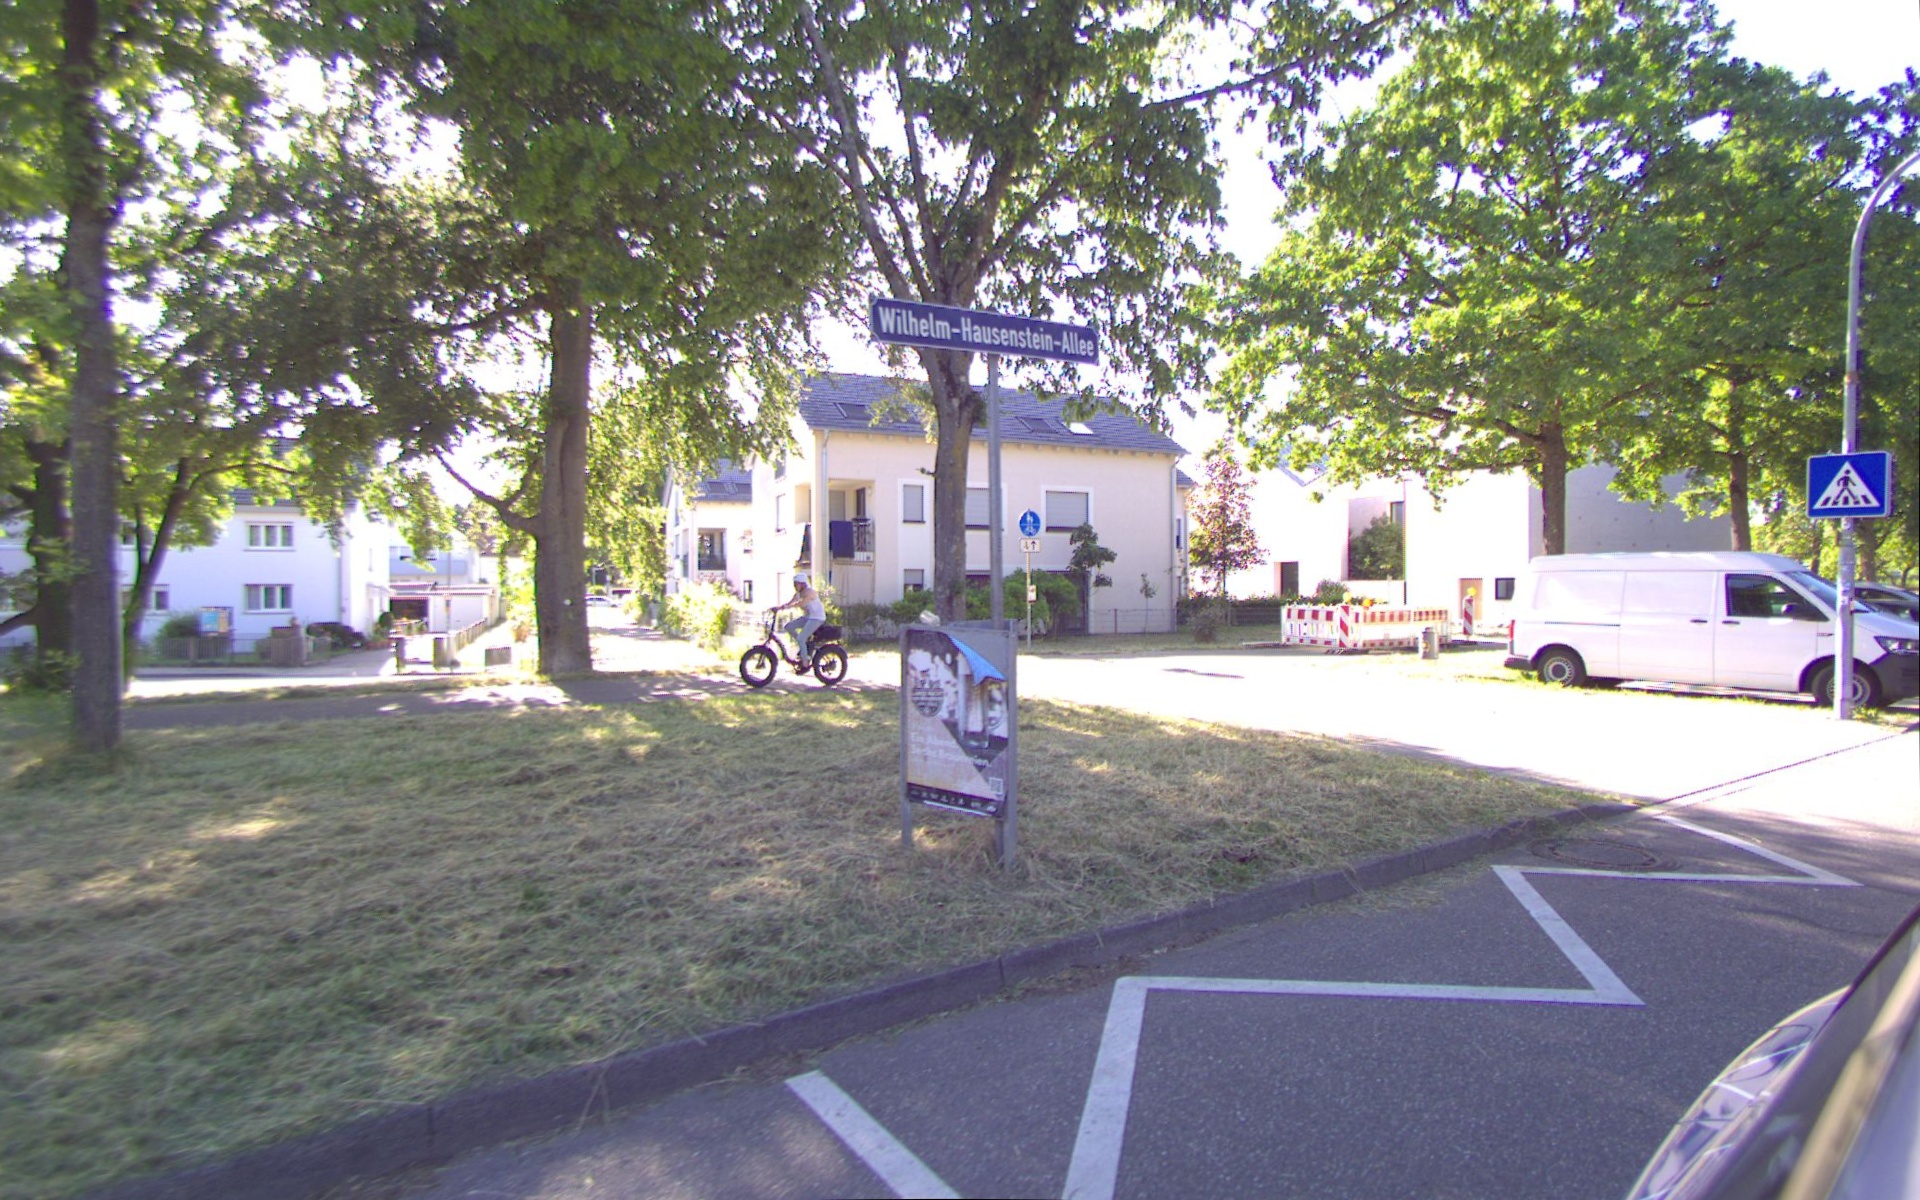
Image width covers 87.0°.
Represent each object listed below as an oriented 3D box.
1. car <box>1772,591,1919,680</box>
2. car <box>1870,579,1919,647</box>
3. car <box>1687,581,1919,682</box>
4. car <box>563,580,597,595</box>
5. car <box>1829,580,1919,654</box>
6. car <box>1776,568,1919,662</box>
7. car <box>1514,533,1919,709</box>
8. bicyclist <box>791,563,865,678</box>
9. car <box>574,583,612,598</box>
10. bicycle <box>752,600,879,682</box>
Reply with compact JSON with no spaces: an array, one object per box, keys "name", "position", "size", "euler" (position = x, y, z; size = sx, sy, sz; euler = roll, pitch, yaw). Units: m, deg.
[{"name":"car","position":[17.330,0.621,18.574],"size":[1.420,1.561,3.520],"euler":[0,0,-32]},{"name":"car","position":[25.163,0.314,24.764],"size":[1.503,1.681,4.024],"euler":[0,0,-32]},{"name":"car","position":[15.152,0.497,17.348],"size":[1.723,1.583,4.002],"euler":[0,0,-32]},{"name":"car","position":[-55.275,-1.816,147.168],"size":[4.523,2.039,2.004],"euler":[0,0,-19]},{"name":"car","position":[22.705,0.380,23.138],"size":[1.503,1.700,4.024],"euler":[0,0,-32]},{"name":"car","position":[19.178,0.285,20.309],"size":[1.679,1.816,4.024],"euler":[0,0,-32]},{"name":"car","position":[11.000,0.205,14.547],"size":[1.855,2.107,5.050],"euler":[0,1,-34]},{"name":"bicyclist","position":[-2.018,0.302,15.420],"size":[0.833,1.687,0.727],"euler":[-1,-1,-36]},{"name":"car","position":[-49.634,-1.272,136.896],"size":[4.537,2.039,1.998],"euler":[0,0,-39]},{"name":"bicycle","position":[-2.166,0.591,15.286],"size":[1.796,1.165,0.677],"euler":[0,0,-36]}]
